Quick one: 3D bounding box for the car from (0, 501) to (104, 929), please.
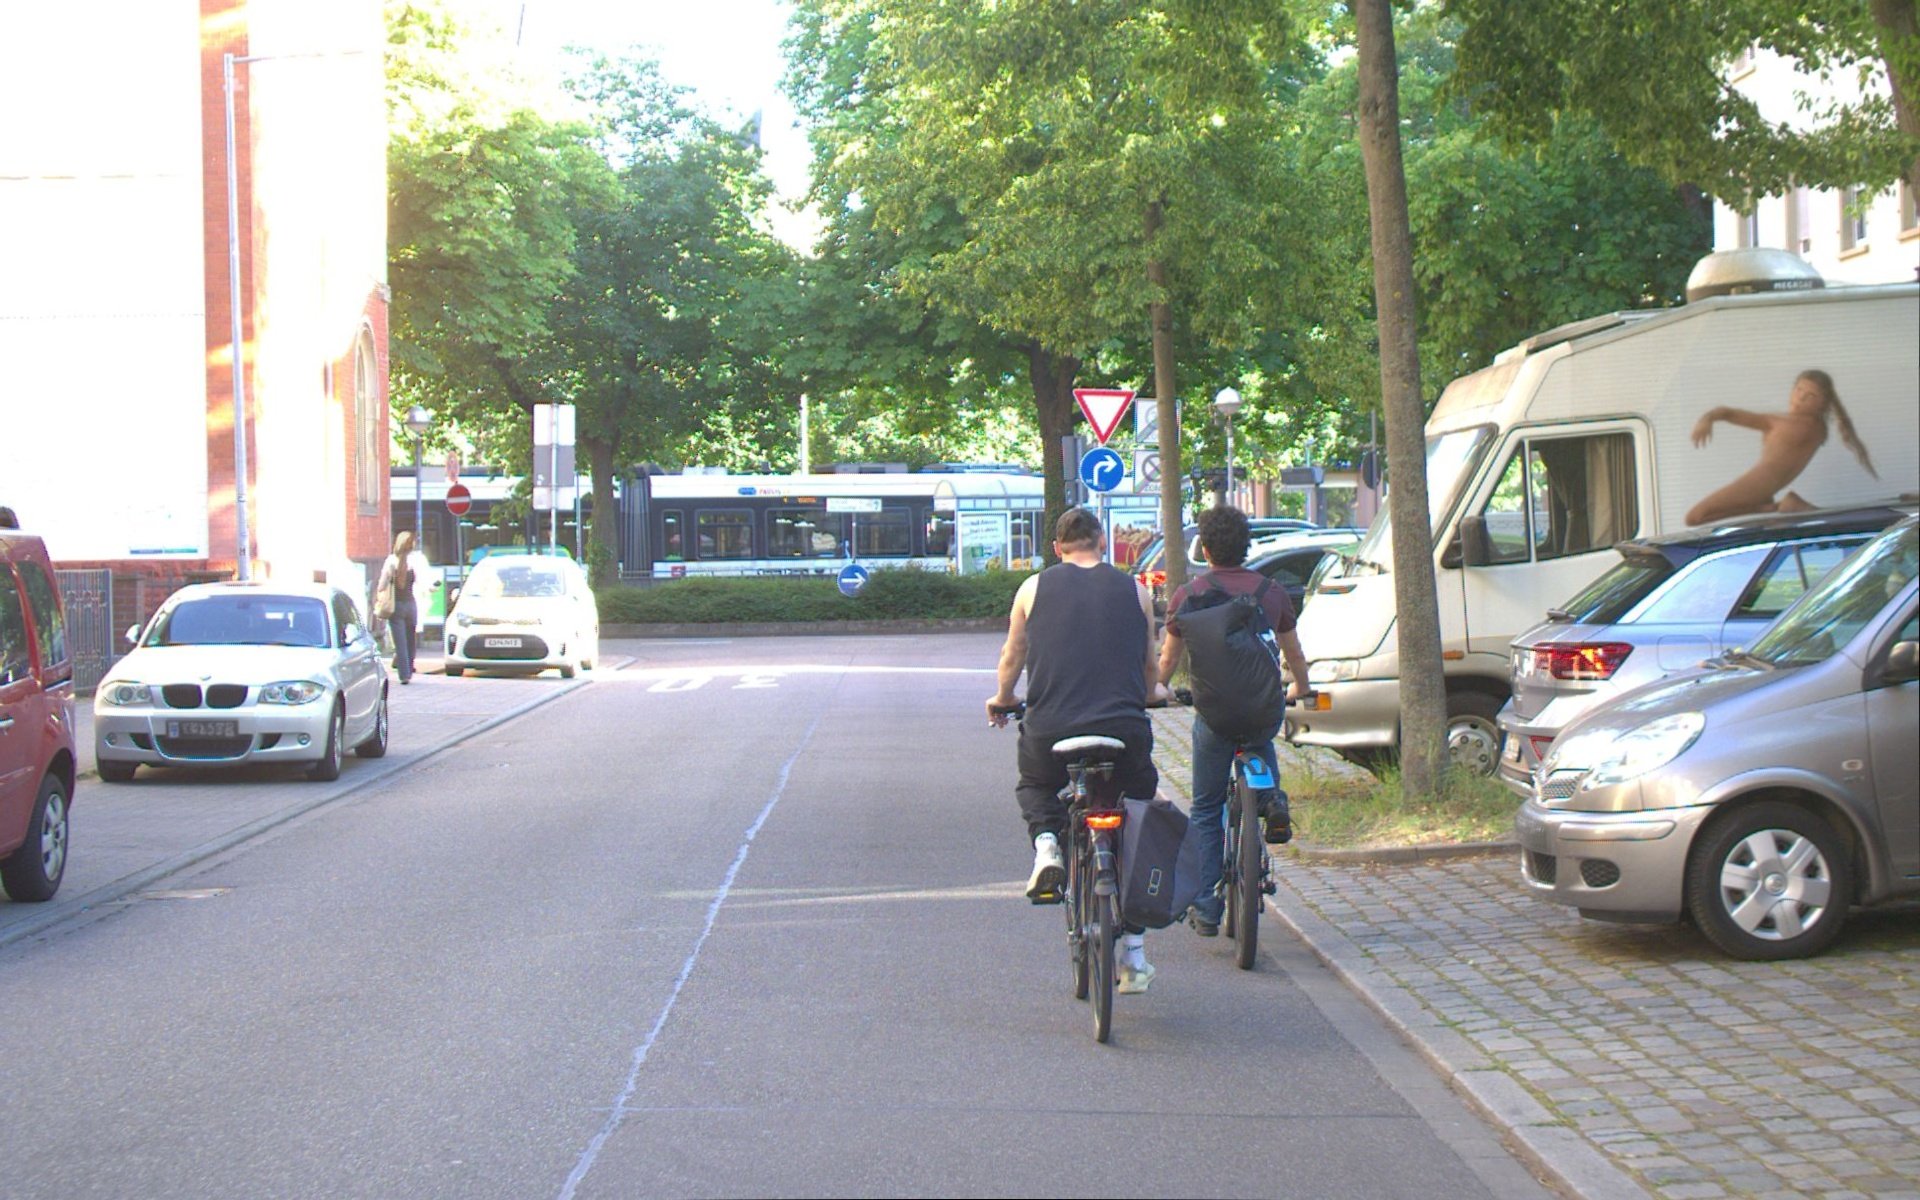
[{"bbox_3d":[-5.155,0.507,14.971,1.798,1.900,4.325,1,1,0],"label":"car"}]

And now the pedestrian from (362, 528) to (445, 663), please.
[{"bbox_3d":[-6.844,-0.059,42.310,0.867,1.637,0.860,-1,1,-1],"label":"pedestrian"}]

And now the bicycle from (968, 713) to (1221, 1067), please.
[{"bbox_3d":[0.418,0.933,11.692,0.737,1.008,2.061,1,0,-1],"label":"bicycle"}]

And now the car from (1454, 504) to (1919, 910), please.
[{"bbox_3d":[4.347,0.374,15.348,3.963,1.593,1.903,-4,0,2],"label":"car"}]

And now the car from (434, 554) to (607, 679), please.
[{"bbox_3d":[-5.512,0.175,43.473,1.705,1.480,3.797,1,1,0],"label":"car"}]

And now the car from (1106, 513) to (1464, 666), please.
[{"bbox_3d":[4.025,-0.159,43.019,4.105,1.707,2.024,-2,2,-5],"label":"car"}]

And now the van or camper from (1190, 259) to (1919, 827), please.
[{"bbox_3d":[5.057,-0.374,20.360,7.075,3.067,2.465,-1,1,-3],"label":"van or camper"}]

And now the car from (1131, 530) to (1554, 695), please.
[{"bbox_3d":[3.916,0.113,35.702,4.104,1.407,1.792,-4,1,0],"label":"car"}]

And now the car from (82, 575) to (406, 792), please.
[{"bbox_3d":[-5.288,0.560,25.859,1.744,1.461,4.104,0,1,-3],"label":"car"}]

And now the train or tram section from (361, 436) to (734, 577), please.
[{"bbox_3d":[-9.926,-2.208,82.836,8.415,3.166,2.862,1,1,-23],"label":"train or tram section"}]

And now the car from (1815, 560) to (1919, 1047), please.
[{"bbox_3d":[4.817,0.519,10.424,3.874,1.468,1.788,-3,0,-5],"label":"car"}]

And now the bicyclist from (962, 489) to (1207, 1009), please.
[{"bbox_3d":[0.406,0.478,11.636,0.752,1.676,0.913,-1,1,-1],"label":"bicyclist"}]

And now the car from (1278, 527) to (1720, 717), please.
[{"bbox_3d":[4.740,0.170,30.547,3.589,1.500,1.678,-2,1,-1],"label":"car"}]

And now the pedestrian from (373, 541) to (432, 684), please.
[{"bbox_3d":[-6.386,0.138,39.364,0.599,1.599,0.855,-1,1,-11],"label":"pedestrian"}]

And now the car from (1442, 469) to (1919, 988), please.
[{"bbox_3d":[3.948,0.371,12.952,3.914,1.738,1.729,-4,0,0],"label":"car"}]

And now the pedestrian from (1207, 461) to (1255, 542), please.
[{"bbox_3d":[5.748,-2.087,72.877,0.916,1.678,0.780,-1,1,10],"label":"pedestrian"}]

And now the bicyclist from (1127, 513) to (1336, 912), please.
[{"bbox_3d":[1.063,0.431,13.669,0.671,1.509,1.069,-1,0,-2],"label":"bicyclist"}]

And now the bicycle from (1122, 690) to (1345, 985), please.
[{"bbox_3d":[1.068,0.912,13.843,0.674,1.050,2.061,-1,-1,-1],"label":"bicycle"}]

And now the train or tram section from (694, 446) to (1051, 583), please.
[{"bbox_3d":[-2.176,-2.107,86.103,8.415,3.190,2.862,1,1,-23],"label":"train or tram section"}]

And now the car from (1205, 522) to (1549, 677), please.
[{"bbox_3d":[4.632,-0.019,38.587,3.693,1.645,1.704,-1,1,3],"label":"car"}]
